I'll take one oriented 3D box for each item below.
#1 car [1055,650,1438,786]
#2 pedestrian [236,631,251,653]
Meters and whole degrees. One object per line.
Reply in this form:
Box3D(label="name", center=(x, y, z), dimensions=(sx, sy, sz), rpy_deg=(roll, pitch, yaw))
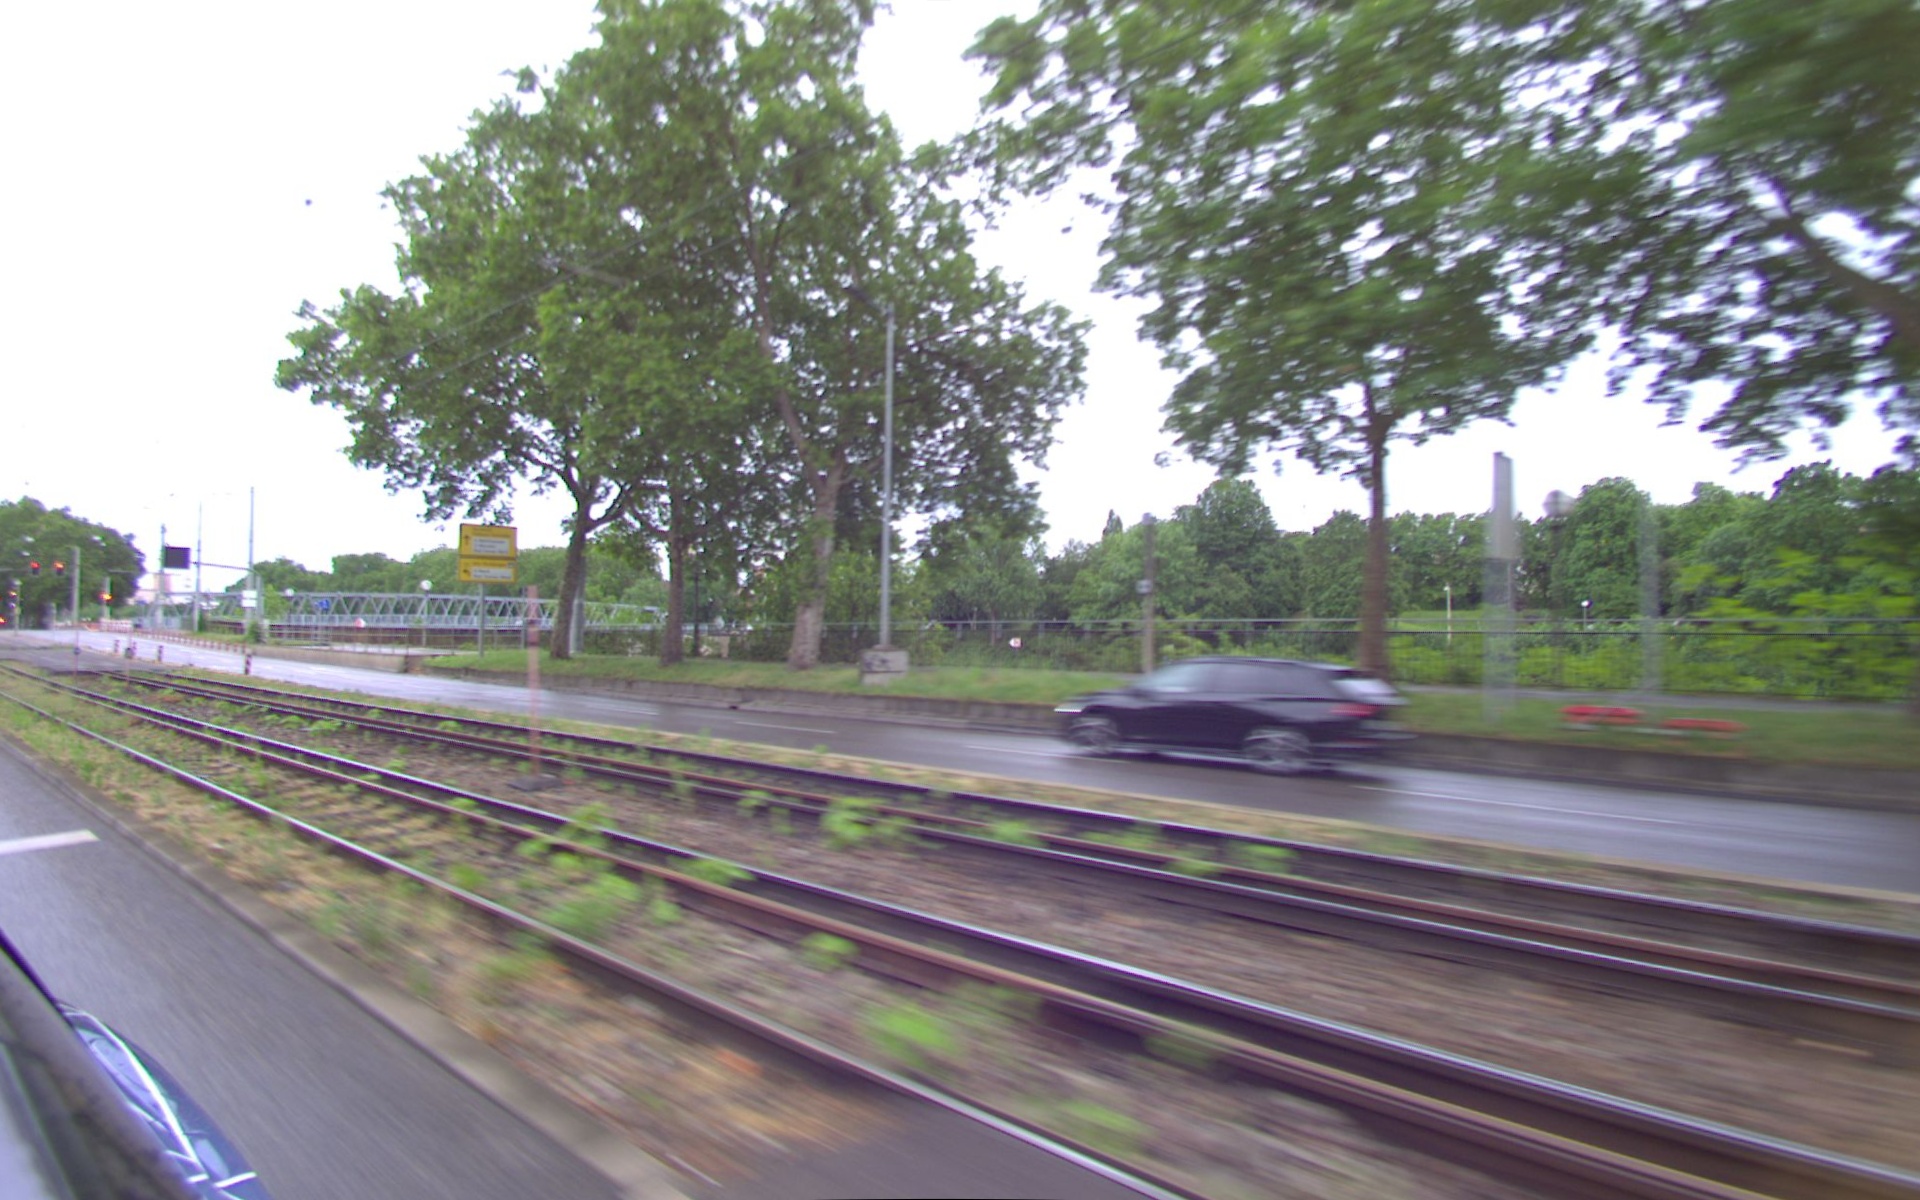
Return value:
Box3D(label="car", center=(3.615, 1.423, 13.328), dimensions=(4.558, 1.441, 1.728), rpy_deg=(-2, -4, 41))
Box3D(label="pedestrian", center=(-55.577, 3.224, 78.469), dimensions=(0.618, 1.701, 0.756), rpy_deg=(-1, -3, 40))
